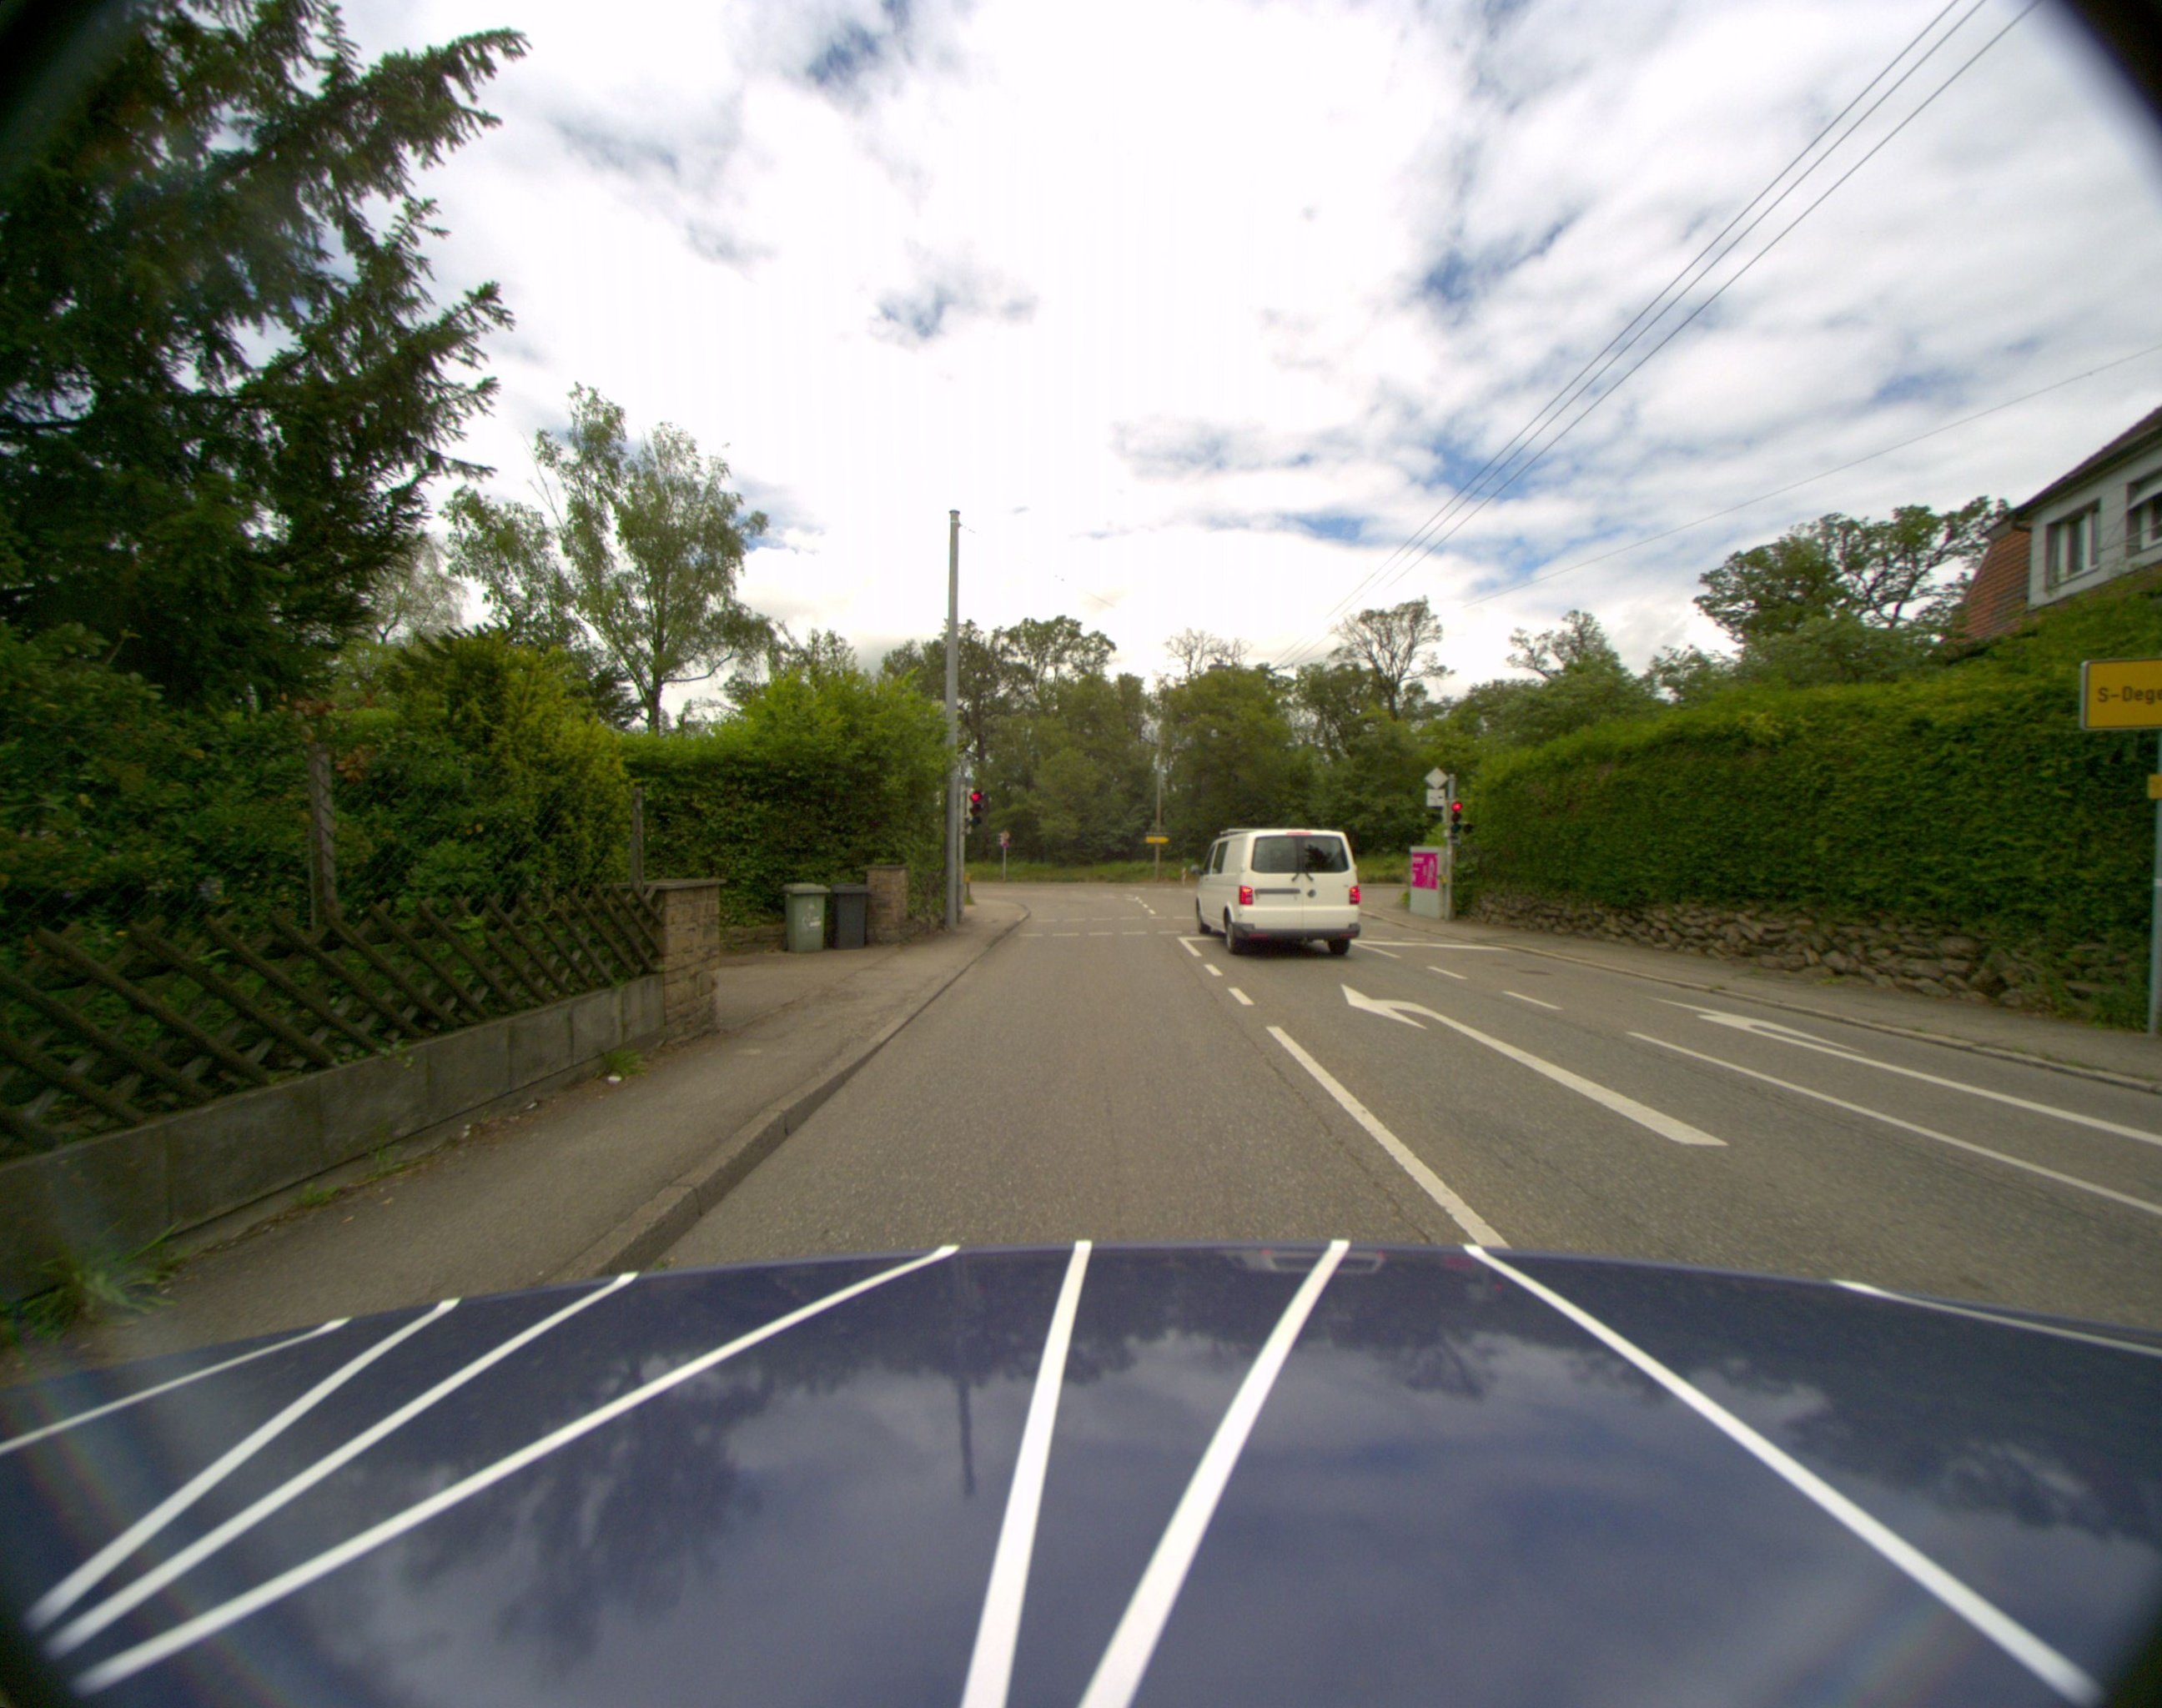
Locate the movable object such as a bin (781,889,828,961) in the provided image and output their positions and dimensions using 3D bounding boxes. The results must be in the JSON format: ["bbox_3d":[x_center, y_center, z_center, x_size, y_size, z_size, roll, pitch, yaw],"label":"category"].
[{"bbox_3d":[-4.258,1.075,11.699,0.541,1.055,0.508,1,0,-37],"label":"movable object such as a bin"}]

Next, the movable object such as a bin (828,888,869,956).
[{"bbox_3d":[-3.725,1.081,12.167,0.541,1.039,0.508,2,-1,-26],"label":"movable object such as a bin"}]

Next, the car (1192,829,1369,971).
[{"bbox_3d":[3.244,0.659,13.512,1.862,2.036,5.171,0,0,1],"label":"car"}]
